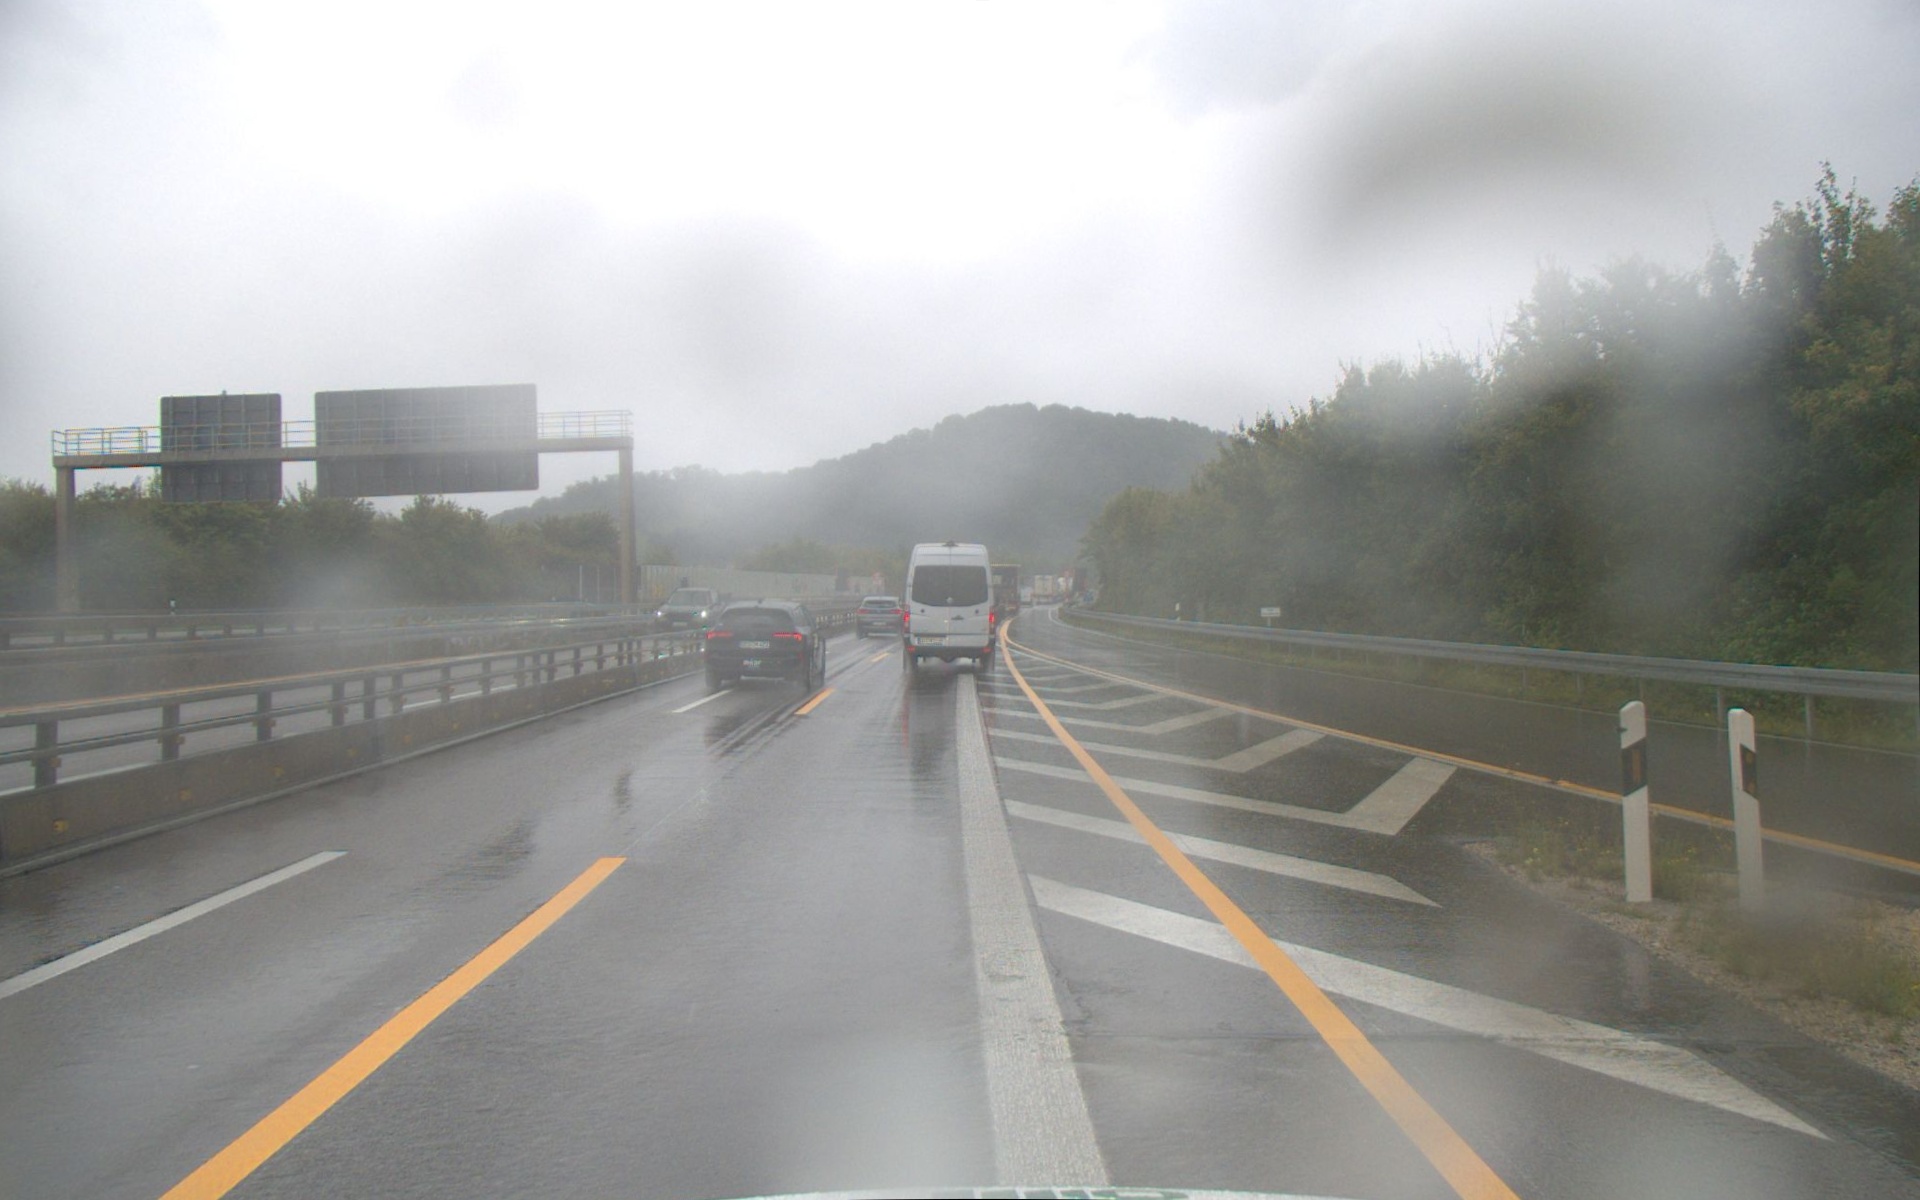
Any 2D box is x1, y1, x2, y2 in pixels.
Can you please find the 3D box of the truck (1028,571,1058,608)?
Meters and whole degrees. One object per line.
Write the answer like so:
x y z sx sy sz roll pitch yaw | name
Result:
11.367 -1.380 226.328 3.846 4.869 9.910 1 -1 4 | truck

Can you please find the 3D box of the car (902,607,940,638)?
-1.926 1.131 83.033 1.814 1.527 4.000 0 0 0 | car

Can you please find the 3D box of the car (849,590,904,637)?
-3.103 0.496 62.247 1.829 1.688 3.988 0 0 0 | car

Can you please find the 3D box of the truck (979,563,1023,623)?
3.430 -0.522 140.979 3.253 4.869 9.904 1 -1 -1 | truck

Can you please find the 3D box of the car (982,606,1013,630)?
2.058 0.985 90.788 1.357 1.278 3.119 0 0 -5 | car

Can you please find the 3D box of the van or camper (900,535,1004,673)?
-0.174 0.099 35.739 2.096 2.769 4.647 0 0 0 | van or camper

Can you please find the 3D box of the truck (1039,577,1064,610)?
14.595 -0.991 263.698 3.846 4.869 9.910 1 -1 4 | truck

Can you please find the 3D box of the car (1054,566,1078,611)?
10.301 -1.092 160.702 2.015 4.265 6.747 0 0 1 | car

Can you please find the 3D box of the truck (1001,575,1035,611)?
6.521 -0.689 187.016 3.253 3.827 9.904 1 -1 -1 | truck

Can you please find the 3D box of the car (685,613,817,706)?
-3.504 0.960 28.536 1.900 1.452 4.757 1 0 -3 | car

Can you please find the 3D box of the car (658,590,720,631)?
-9.424 0.373 57.724 1.598 1.374 3.654 0 -1 -1 | car
